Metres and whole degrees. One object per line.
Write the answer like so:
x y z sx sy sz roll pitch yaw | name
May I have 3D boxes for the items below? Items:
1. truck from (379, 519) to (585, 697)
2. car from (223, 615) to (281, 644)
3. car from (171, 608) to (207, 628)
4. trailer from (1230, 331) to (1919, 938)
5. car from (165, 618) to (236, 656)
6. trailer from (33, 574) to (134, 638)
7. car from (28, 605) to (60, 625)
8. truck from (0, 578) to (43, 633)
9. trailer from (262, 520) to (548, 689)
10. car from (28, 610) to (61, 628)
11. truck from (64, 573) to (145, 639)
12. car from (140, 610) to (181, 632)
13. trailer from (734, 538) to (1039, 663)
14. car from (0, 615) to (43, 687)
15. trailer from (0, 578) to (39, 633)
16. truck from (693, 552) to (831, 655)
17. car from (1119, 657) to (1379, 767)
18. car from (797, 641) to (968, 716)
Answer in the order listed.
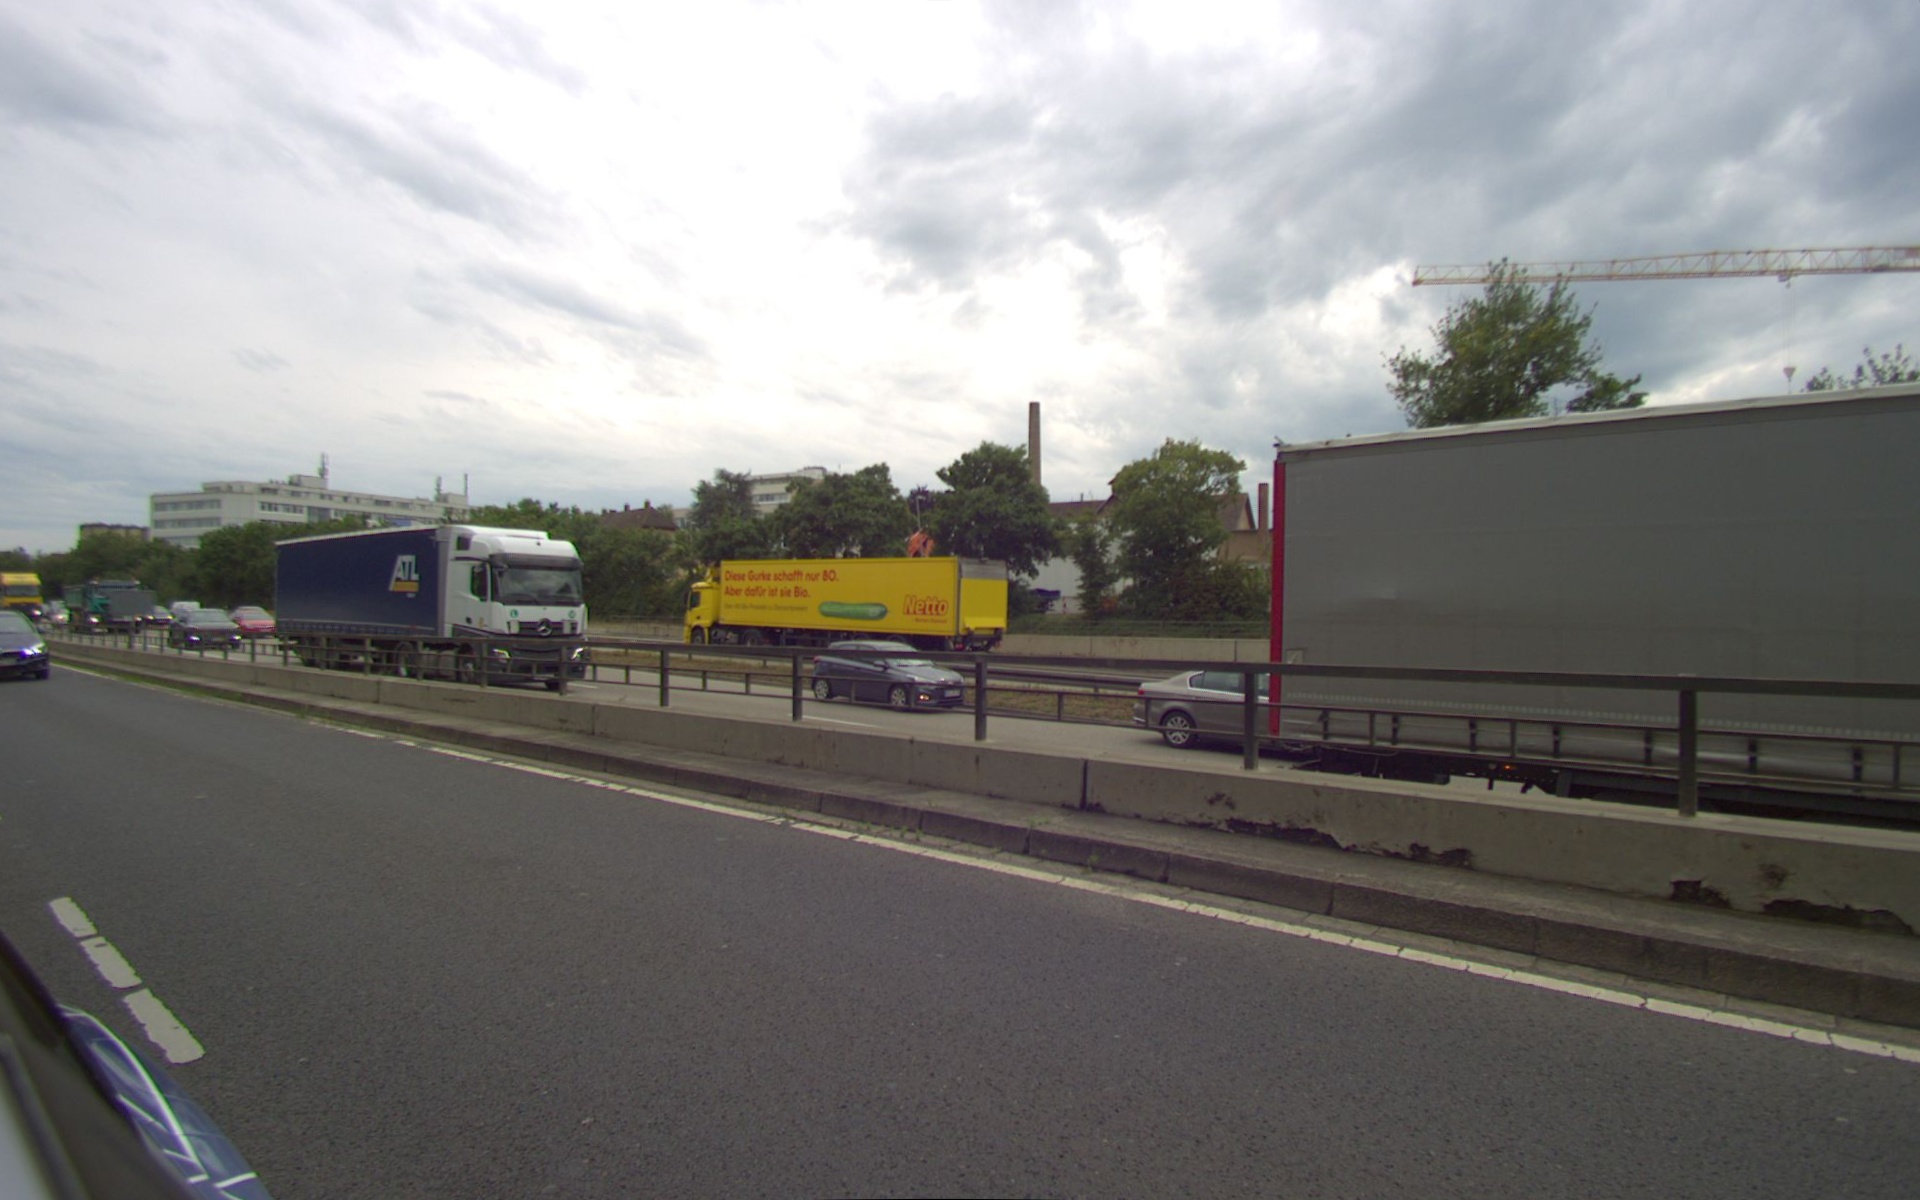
-12.380 0.231 25.998 6.094 4.067 2.498 -1 -2 41 | truck
-37.299 1.528 53.267 3.998 1.452 1.607 -1 0 41 | car
-80.370 1.857 105.498 3.993 2.029 1.975 -1 -3 37 | car
9.003 0.234 6.273 14.547 4.067 2.624 -1 -2 41 | trailer
-31.885 1.520 42.444 3.998 1.452 1.607 -1 0 41 | car
-56.322 0.444 64.772 16.741 3.668 2.580 -1 -2 41 | trailer
-93.370 1.527 103.179 3.998 2.029 1.973 -1 0 41 | car
-77.535 0.463 82.794 6.516 4.377 2.856 -1 -2 41 | truck
-17.071 0.189 30.142 14.777 4.067 2.498 -1 -2 41 | trailer
-85.352 1.781 94.324 4.419 1.575 1.761 -1 0 41 | car
-50.478 0.369 59.662 6.664 3.663 2.611 -1 -2 41 | truck
-56.981 1.487 72.116 3.998 1.452 1.607 -1 0 41 | car
-3.315 0.086 38.333 13.769 4.067 2.498 -1 -2 41 | trailer
-23.035 1.171 23.732 4.419 1.575 1.761 -1 0 41 | car
-84.079 0.533 88.527 19.912 4.387 2.860 -1 -2 41 | trailer
-8.439 0.191 42.797 6.093 4.067 2.498 -1 -2 41 | truck
4.783 1.781 17.060 3.896 1.452 1.606 -1 0 42 | car
-1.826 1.726 23.137 3.894 1.452 1.607 0 -2 41 | car
